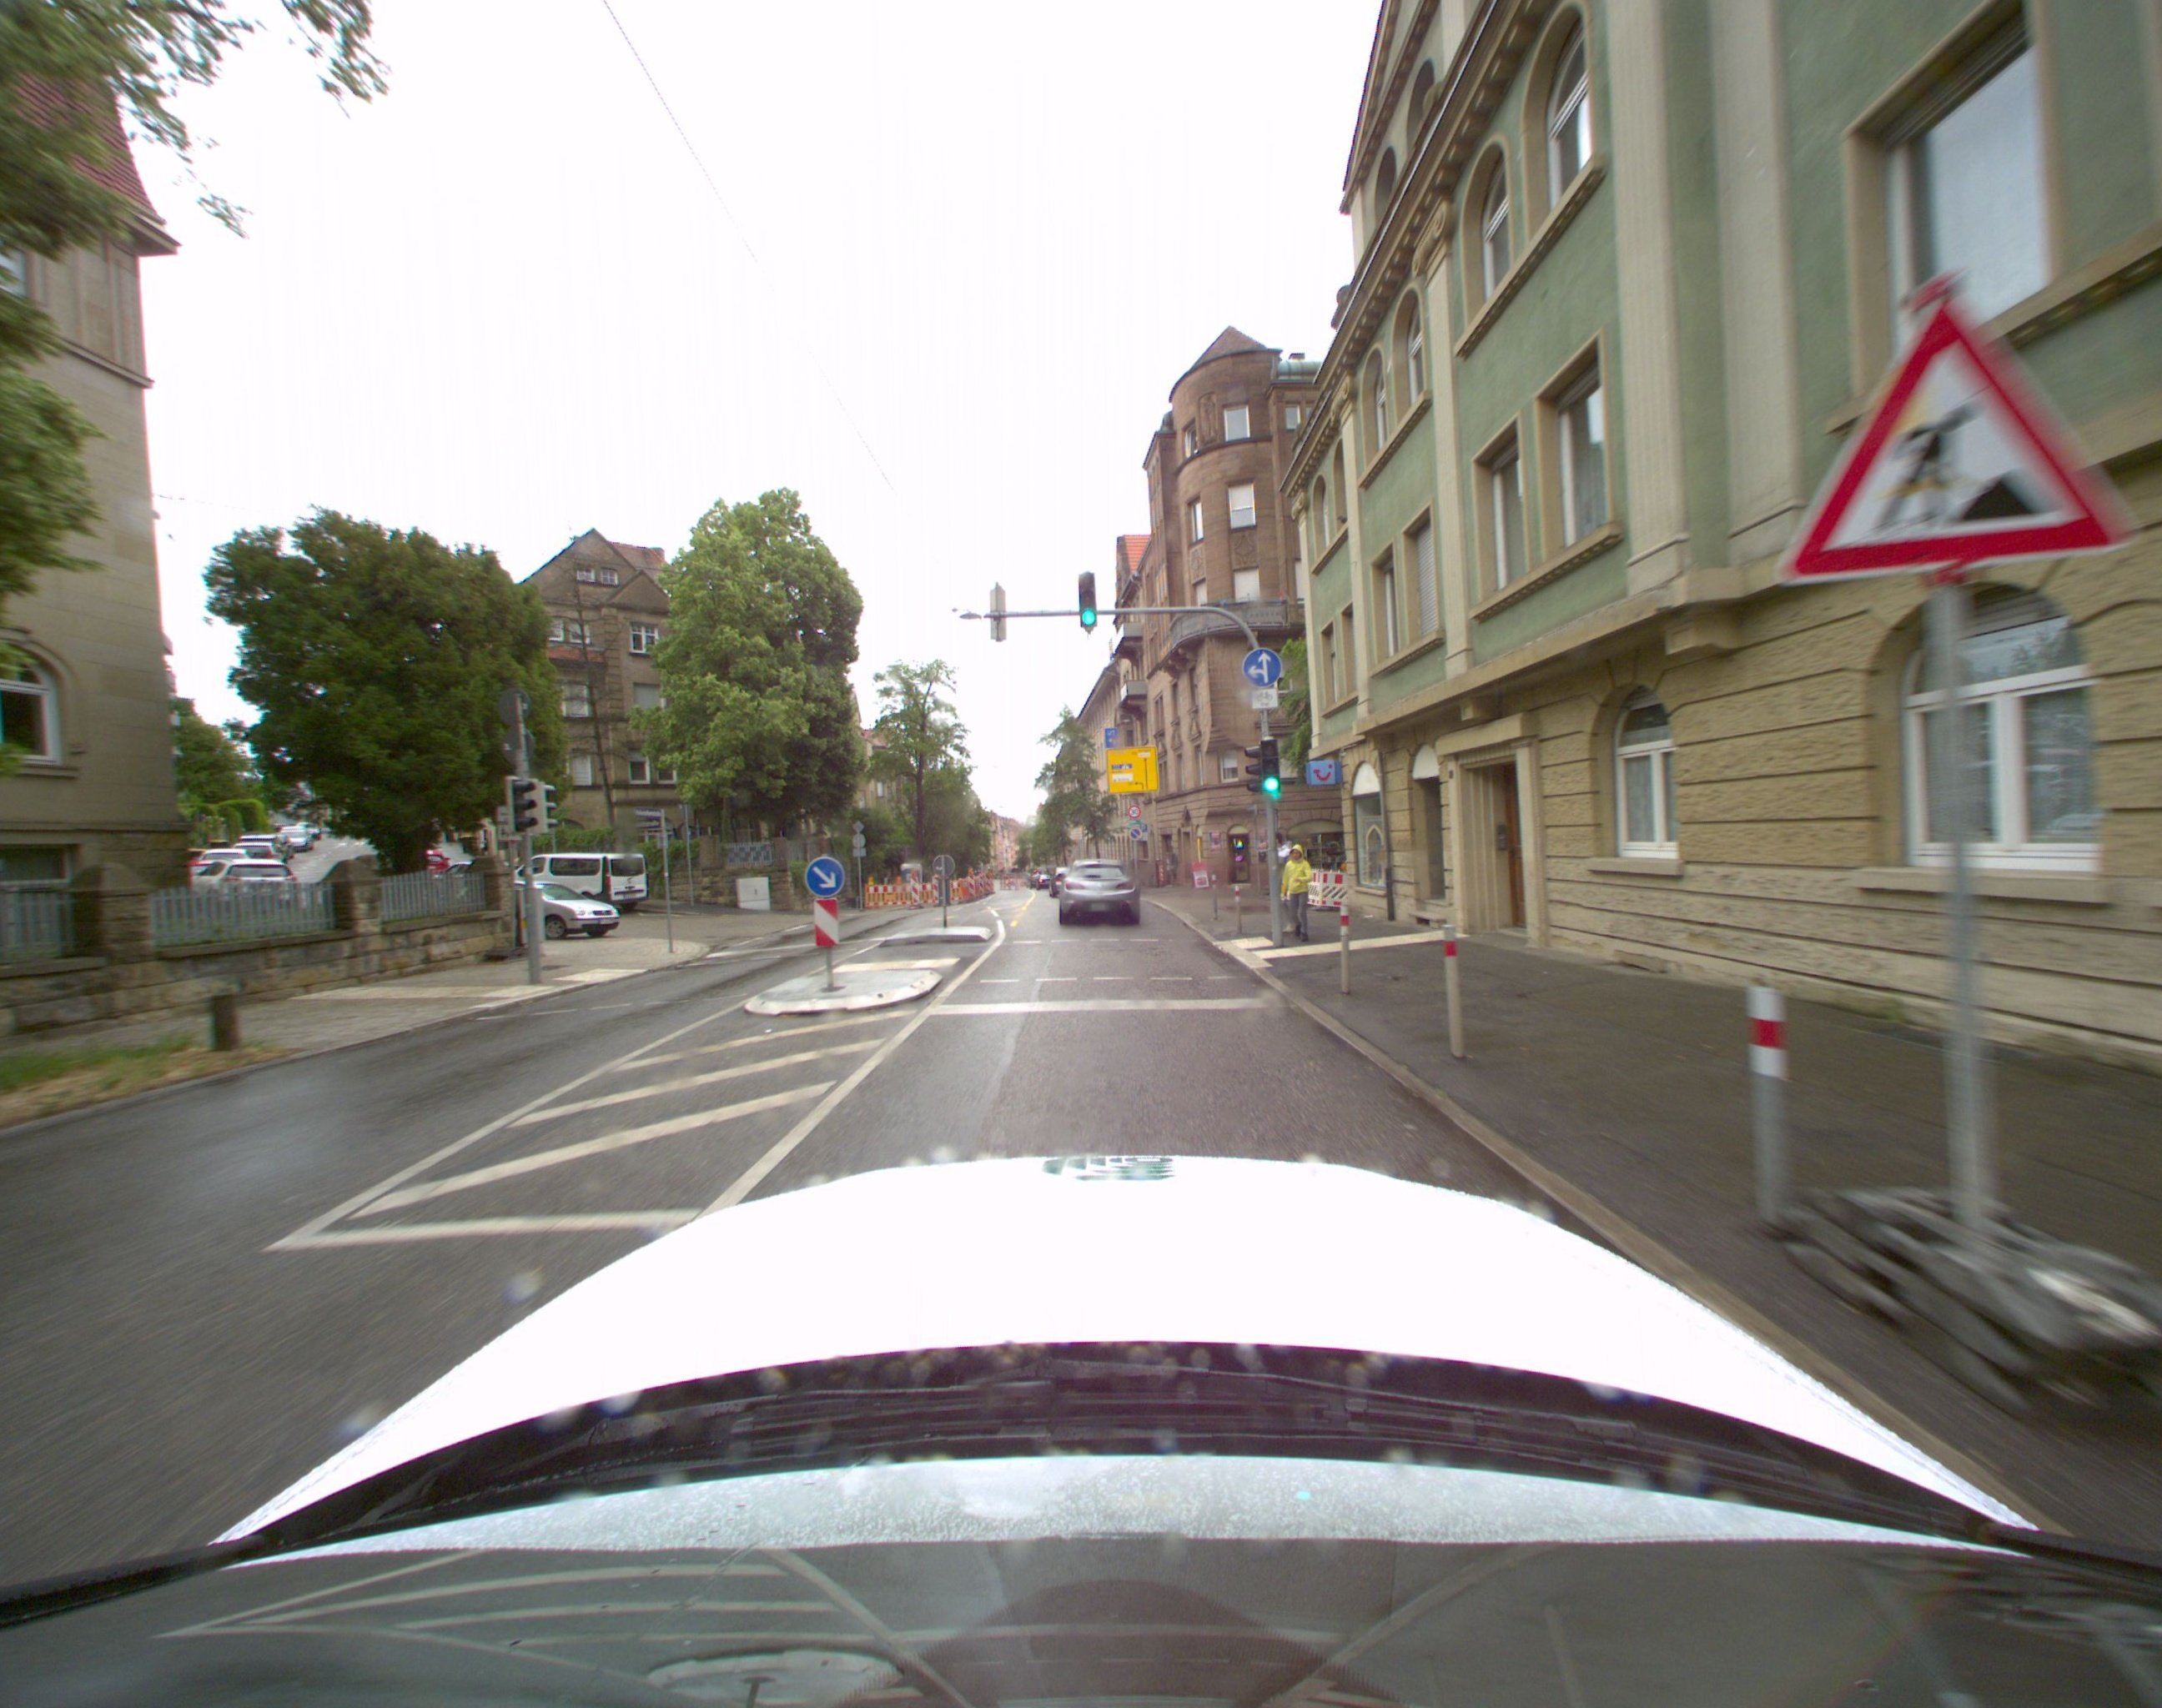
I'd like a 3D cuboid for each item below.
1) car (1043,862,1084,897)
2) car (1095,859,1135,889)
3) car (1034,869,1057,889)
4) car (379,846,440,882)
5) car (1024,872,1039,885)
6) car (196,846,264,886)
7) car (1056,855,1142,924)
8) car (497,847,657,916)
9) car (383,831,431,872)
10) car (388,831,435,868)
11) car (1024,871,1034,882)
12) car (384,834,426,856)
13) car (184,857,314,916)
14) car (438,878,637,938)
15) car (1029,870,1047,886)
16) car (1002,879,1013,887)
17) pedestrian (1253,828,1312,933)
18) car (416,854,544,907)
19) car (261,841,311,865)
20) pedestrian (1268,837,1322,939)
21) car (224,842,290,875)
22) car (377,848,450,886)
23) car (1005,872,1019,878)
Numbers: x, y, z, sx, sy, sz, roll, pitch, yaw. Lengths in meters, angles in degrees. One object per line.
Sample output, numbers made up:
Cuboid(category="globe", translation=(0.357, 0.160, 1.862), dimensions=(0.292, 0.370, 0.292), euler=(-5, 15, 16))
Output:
Cuboid(category="car", translation=(-0.851, 1.166, 37.733), dimensions=(1.768, 1.504, 3.865), euler=(-2, -1, -3))
Cuboid(category="car", translation=(1.891, 1.162, 46.576), dimensions=(1.654, 1.543, 3.657), euler=(-5, -2, -6))
Cuboid(category="car", translation=(-3.152, 2.185, 71.707), dimensions=(1.655, 1.543, 3.655), euler=(-5, -2, -7))
Cuboid(category="car", translation=(-32.494, 0.485, 39.368), dimensions=(2.124, 1.627, 4.390), euler=(3, -2, -41))
Cuboid(category="car", translation=(-6.433, 3.199, 105.943), dimensions=(1.654, 1.543, 3.657), euler=(-5, -2, -6))
Cuboid(category="car", translation=(-36.465, 0.498, 34.979), dimensions=(1.762, 1.507, 4.108), euler=(3, -1, -43))
Cuboid(category="car", translation=(0.476, 0.812, 19.634), dimensions=(1.804, 1.449, 3.871), euler=(-2, -1, 2))
Cuboid(category="car", translation=(-17.367, 0.897, 28.113), dimensions=(4.628, 2.048, 2.034), euler=(3, 1, 15))
Cuboid(category="car", translation=(-36.026, -0.148, 43.494), dimensions=(1.805, 2.041, 3.890), euler=(4, -2, -41))
Cuboid(category="car", translation=(-38.612, -0.228, 46.919), dimensions=(1.932, 2.012, 4.390), euler=(3, -2, -41))
Cuboid(category="car", translation=(-9.662, 4.235, 151.157), dimensions=(1.713, 1.782, 3.657), euler=(-6, -1, -6))
Cuboid(category="car", translation=(-46.855, -0.642, 56.397), dimensions=(2.124, 1.409, 4.391), euler=(3, -1, -41))
Cuboid(category="car", translation=(-25.833, 1.013, 25.278), dimensions=(4.104, 1.675, 1.932), euler=(-1, -3, 32))
Cuboid(category="car", translation=(-13.719, 1.350, 20.688), dimensions=(3.842, 1.409, 1.829), euler=(0, -3, 6))
Cuboid(category="car", translation=(-4.621, 2.594, 86.503), dimensions=(1.654, 1.543, 3.657), euler=(-5, -2, -6))
Cuboid(category="car", translation=(-15.017, 5.840, 166.088), dimensions=(1.992, 1.501, 3.989), euler=(-3, -2, -7))
Cuboid(category="pedestrian", translation=(3.585, 0.469, 14.495), dimensions=(0.711, 1.774, 0.670), euler=(-5, 0, 29))
Cuboid(category="car", translation=(-22.356, 0.920, 30.282), dimensions=(4.388, 1.513, 2.127), euler=(3, 4, 28))
Cuboid(category="car", translation=(-53.362, -0.040, 54.736), dimensions=(2.124, 1.409, 4.390), euler=(3, -3, -41))
Cuboid(category="pedestrian", translation=(3.522, 0.548, 13.447), dimensions=(0.595, 1.584, 0.665), euler=(-5, 0, 0))
Cuboid(category="car", translation=(-39.864, 0.203, 39.467), dimensions=(1.860, 1.458, 4.109), euler=(3, -1, -41))
Cuboid(category="car", translation=(-29.024, 0.580, 35.375), dimensions=(2.045, 1.535, 4.389), euler=(3, -2, -44))
Cuboid(category="car", translation=(-20.970, 6.321, 247.912), dimensions=(3.981, 1.750, 1.996), euler=(-1, -2, -6))
